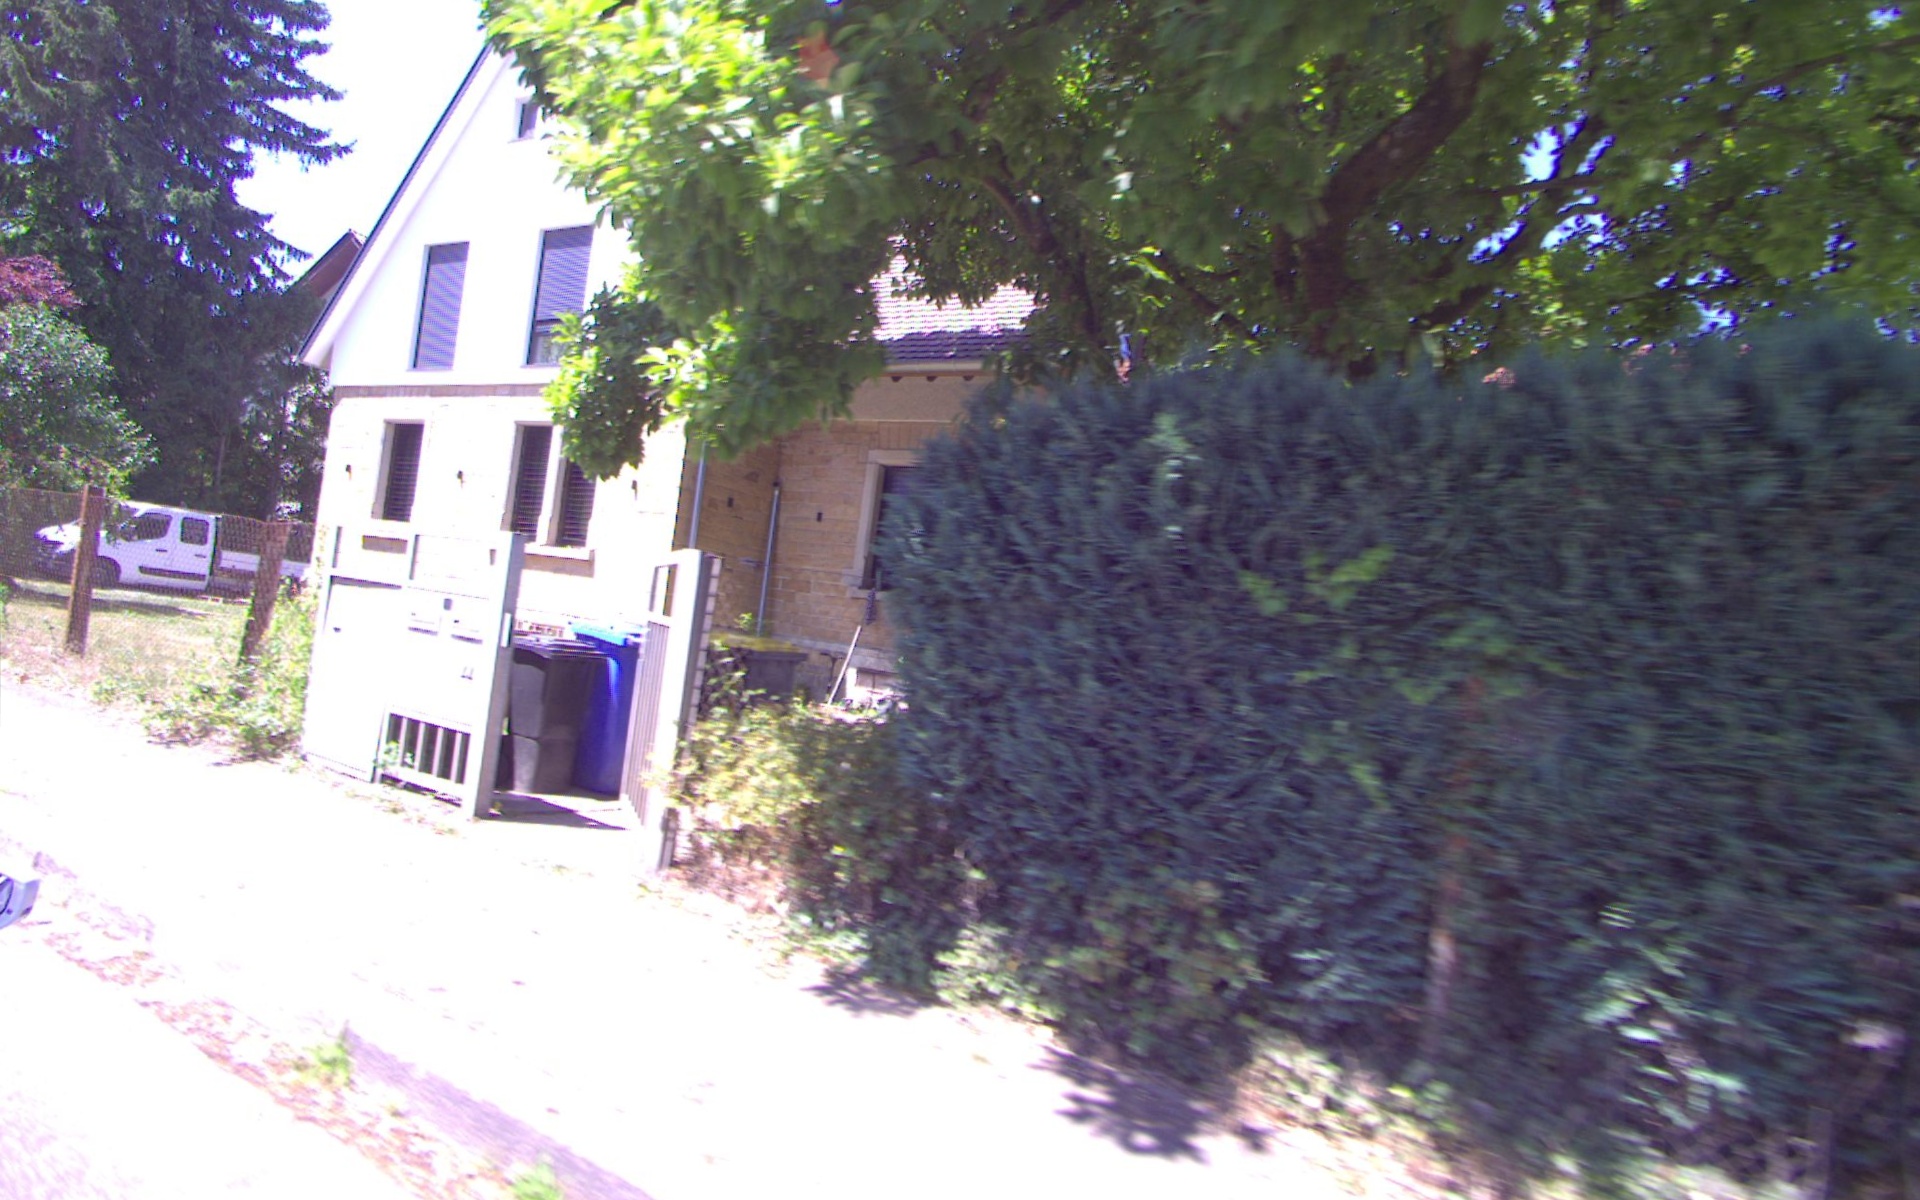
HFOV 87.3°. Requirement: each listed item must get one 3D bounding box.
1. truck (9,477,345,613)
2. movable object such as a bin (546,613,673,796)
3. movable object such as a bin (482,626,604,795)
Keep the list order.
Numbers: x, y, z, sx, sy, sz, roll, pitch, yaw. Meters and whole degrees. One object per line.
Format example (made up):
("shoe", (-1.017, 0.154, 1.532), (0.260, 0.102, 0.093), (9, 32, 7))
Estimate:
("truck", (-20.226, -1.278, 26.566), (1.944, 2.189, 6.642), (8, -4, 25))
("movable object such as a bin", (-2.252, 0.661, 6.469), (0.537, 1.076, 0.400), (7, -1, 32))
("movable object such as a bin", (-2.534, 0.664, 6.121), (0.456, 0.934, 0.400), (7, -1, 32))
